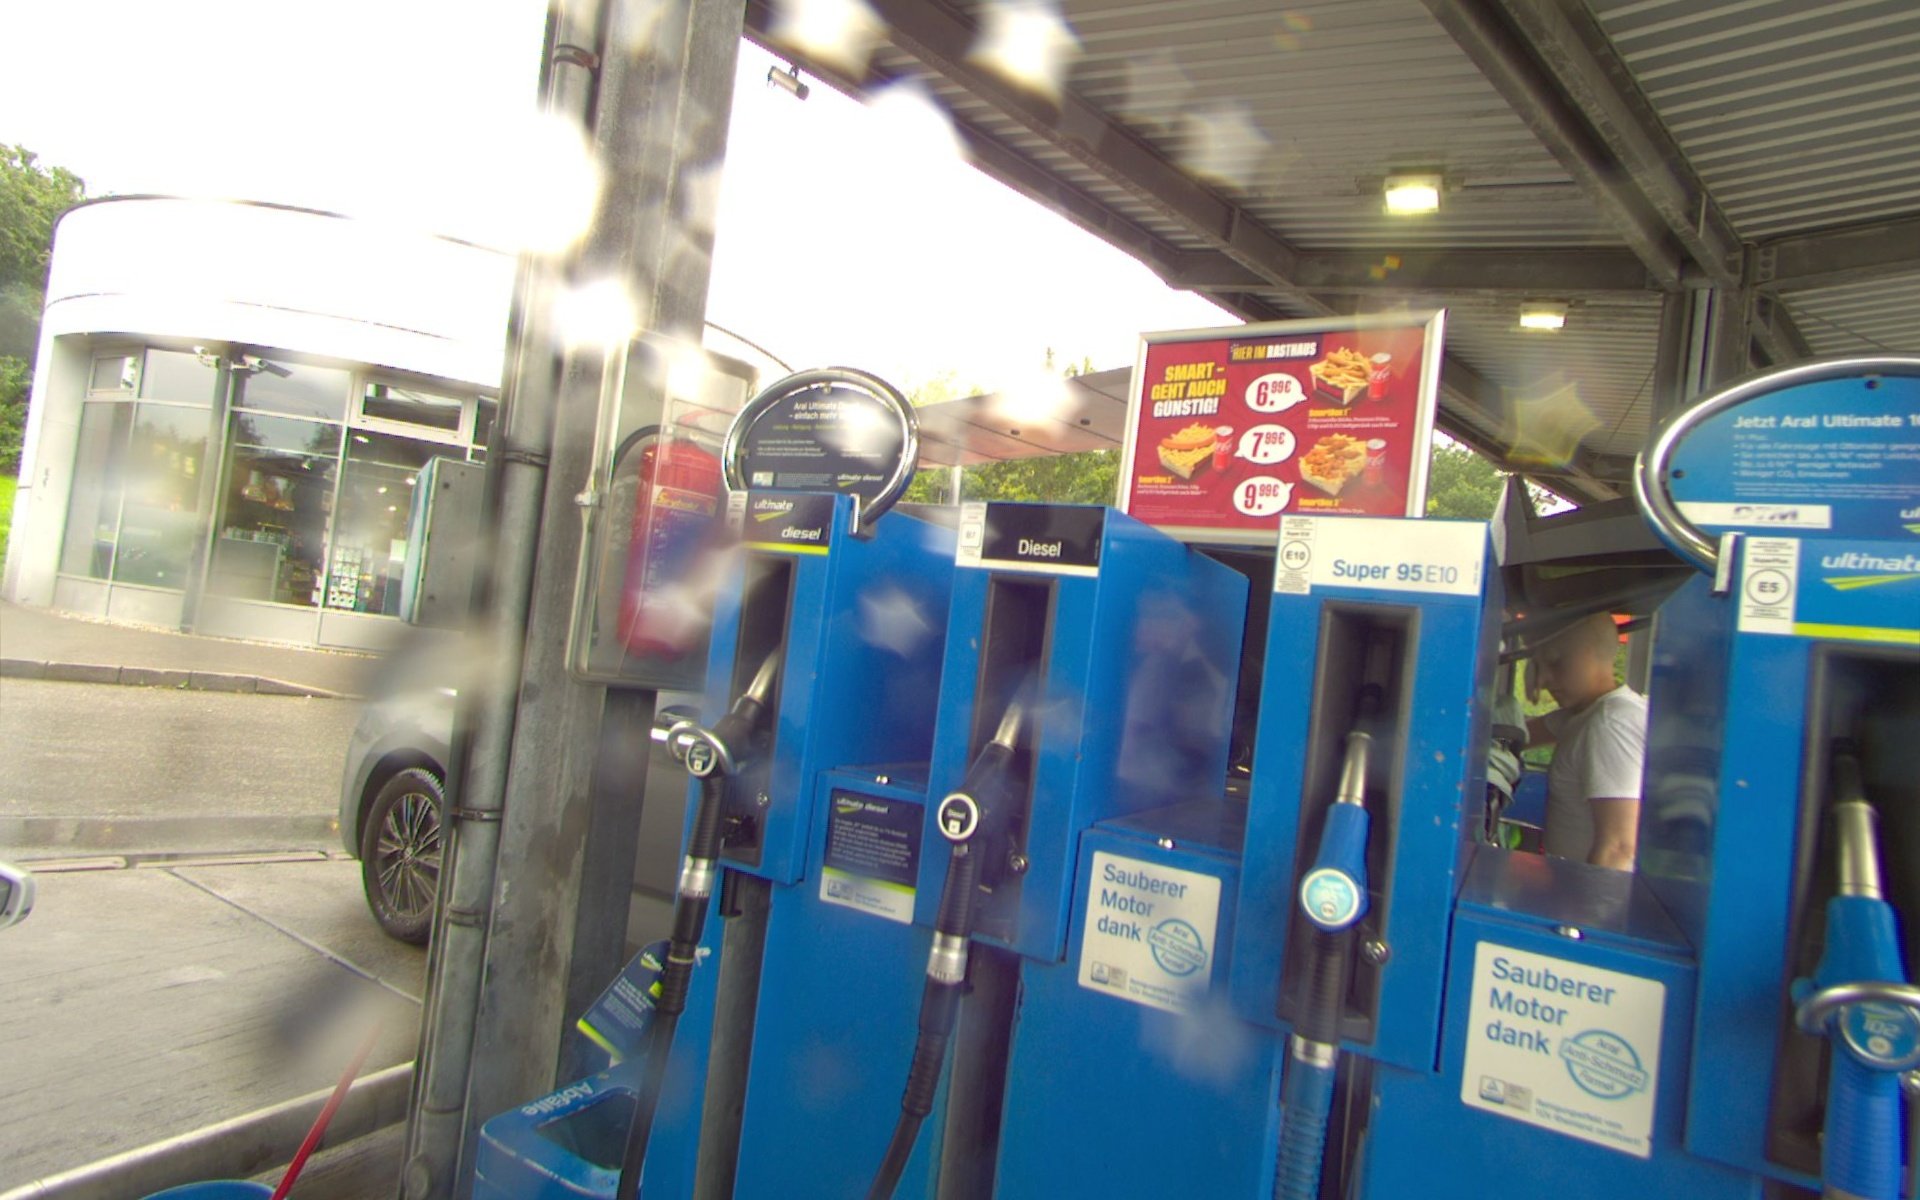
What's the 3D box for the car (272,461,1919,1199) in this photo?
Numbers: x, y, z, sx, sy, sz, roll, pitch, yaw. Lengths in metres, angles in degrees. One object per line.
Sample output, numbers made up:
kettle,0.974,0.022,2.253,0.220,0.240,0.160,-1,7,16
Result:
car,-0.154,0.646,3.675,5.055,1.819,1.865,6,-2,32
